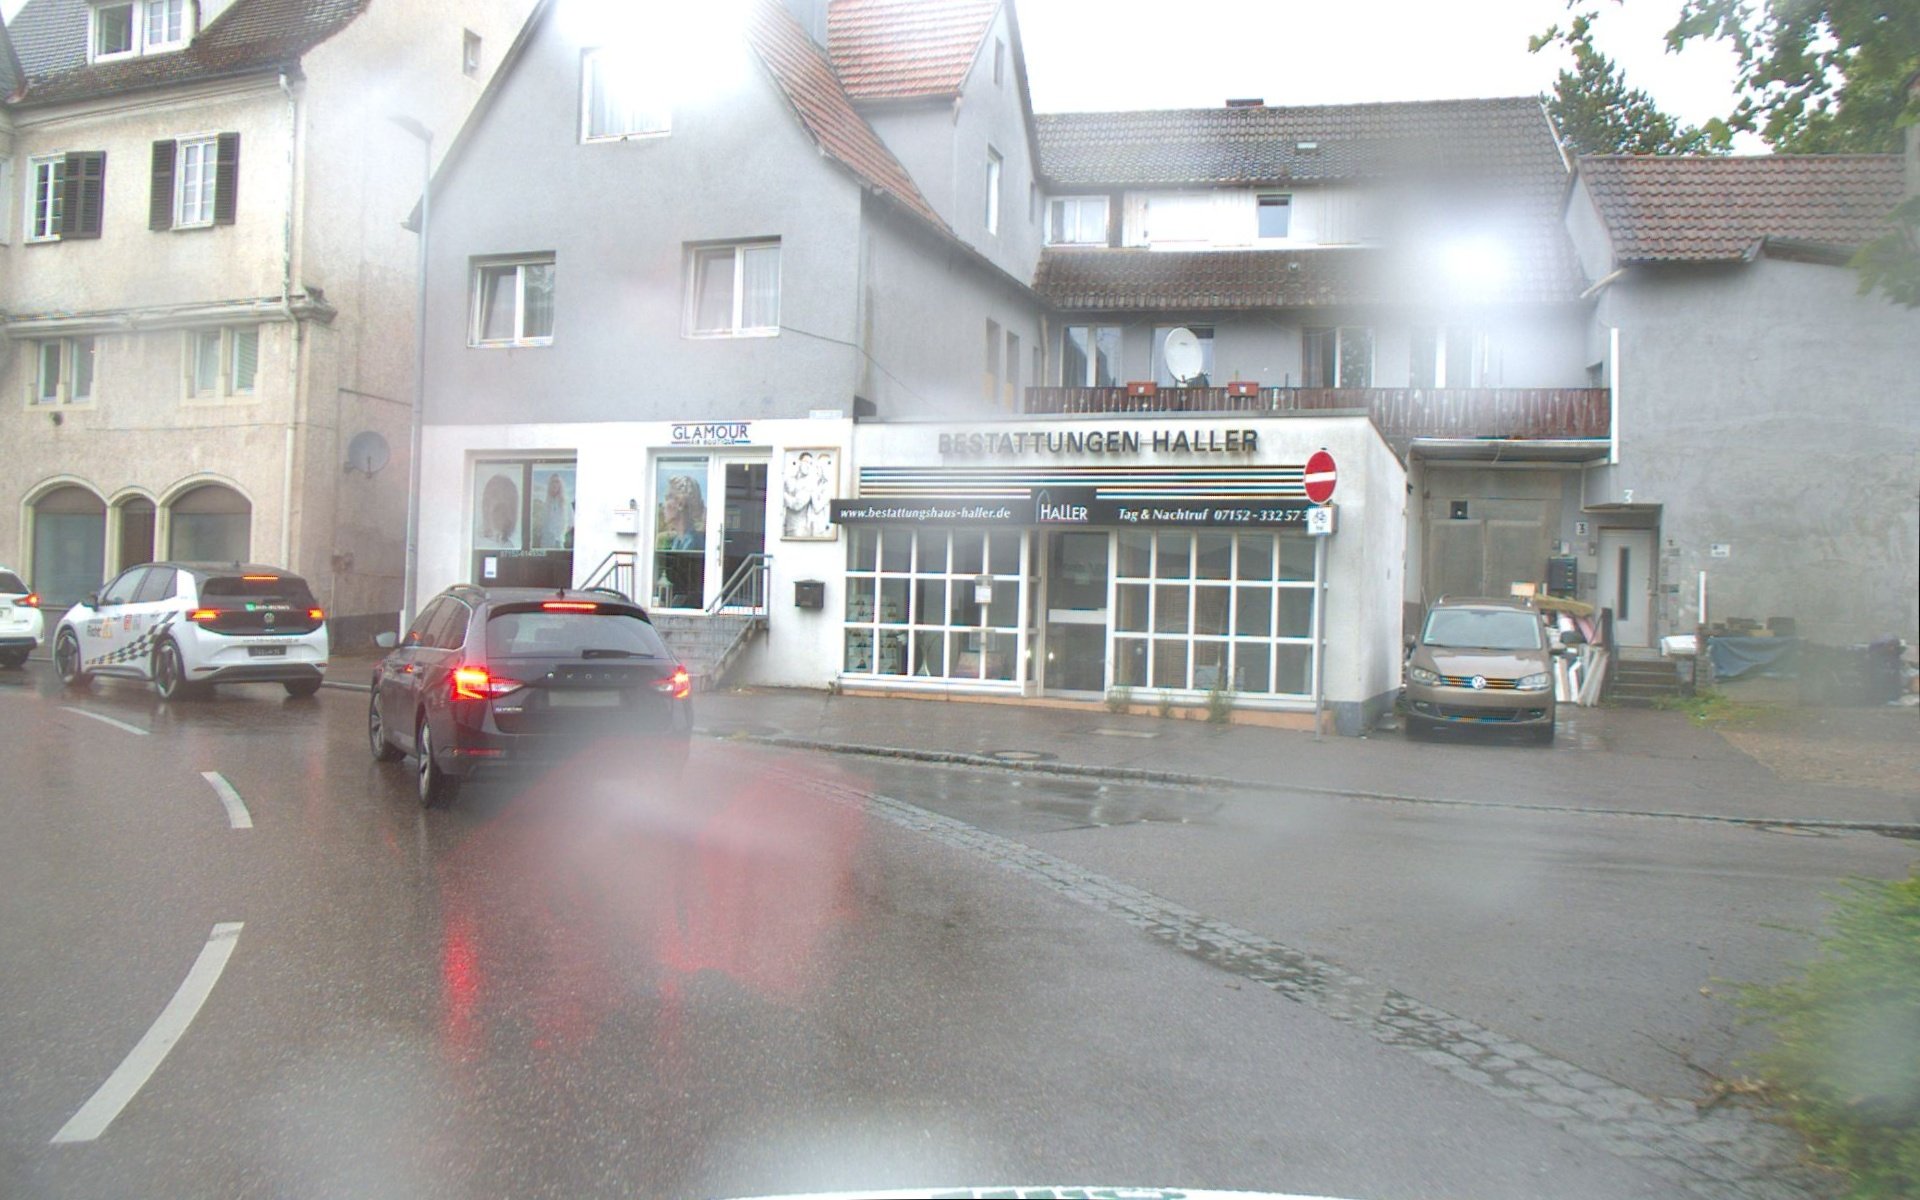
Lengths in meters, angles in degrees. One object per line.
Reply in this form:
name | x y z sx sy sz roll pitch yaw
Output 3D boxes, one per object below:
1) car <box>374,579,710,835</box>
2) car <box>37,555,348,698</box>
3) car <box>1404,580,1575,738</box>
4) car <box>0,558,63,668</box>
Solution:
car | -3.299 0.644 12.423 1.710 1.475 4.209 1 2 -25
car | -9.311 0.244 19.949 4.161 1.543 1.786 1 1 39
car | 6.891 0.659 21.771 1.883 1.758 4.672 1 2 16
car | -14.980 0.117 23.921 4.076 1.491 1.787 3 2 32
